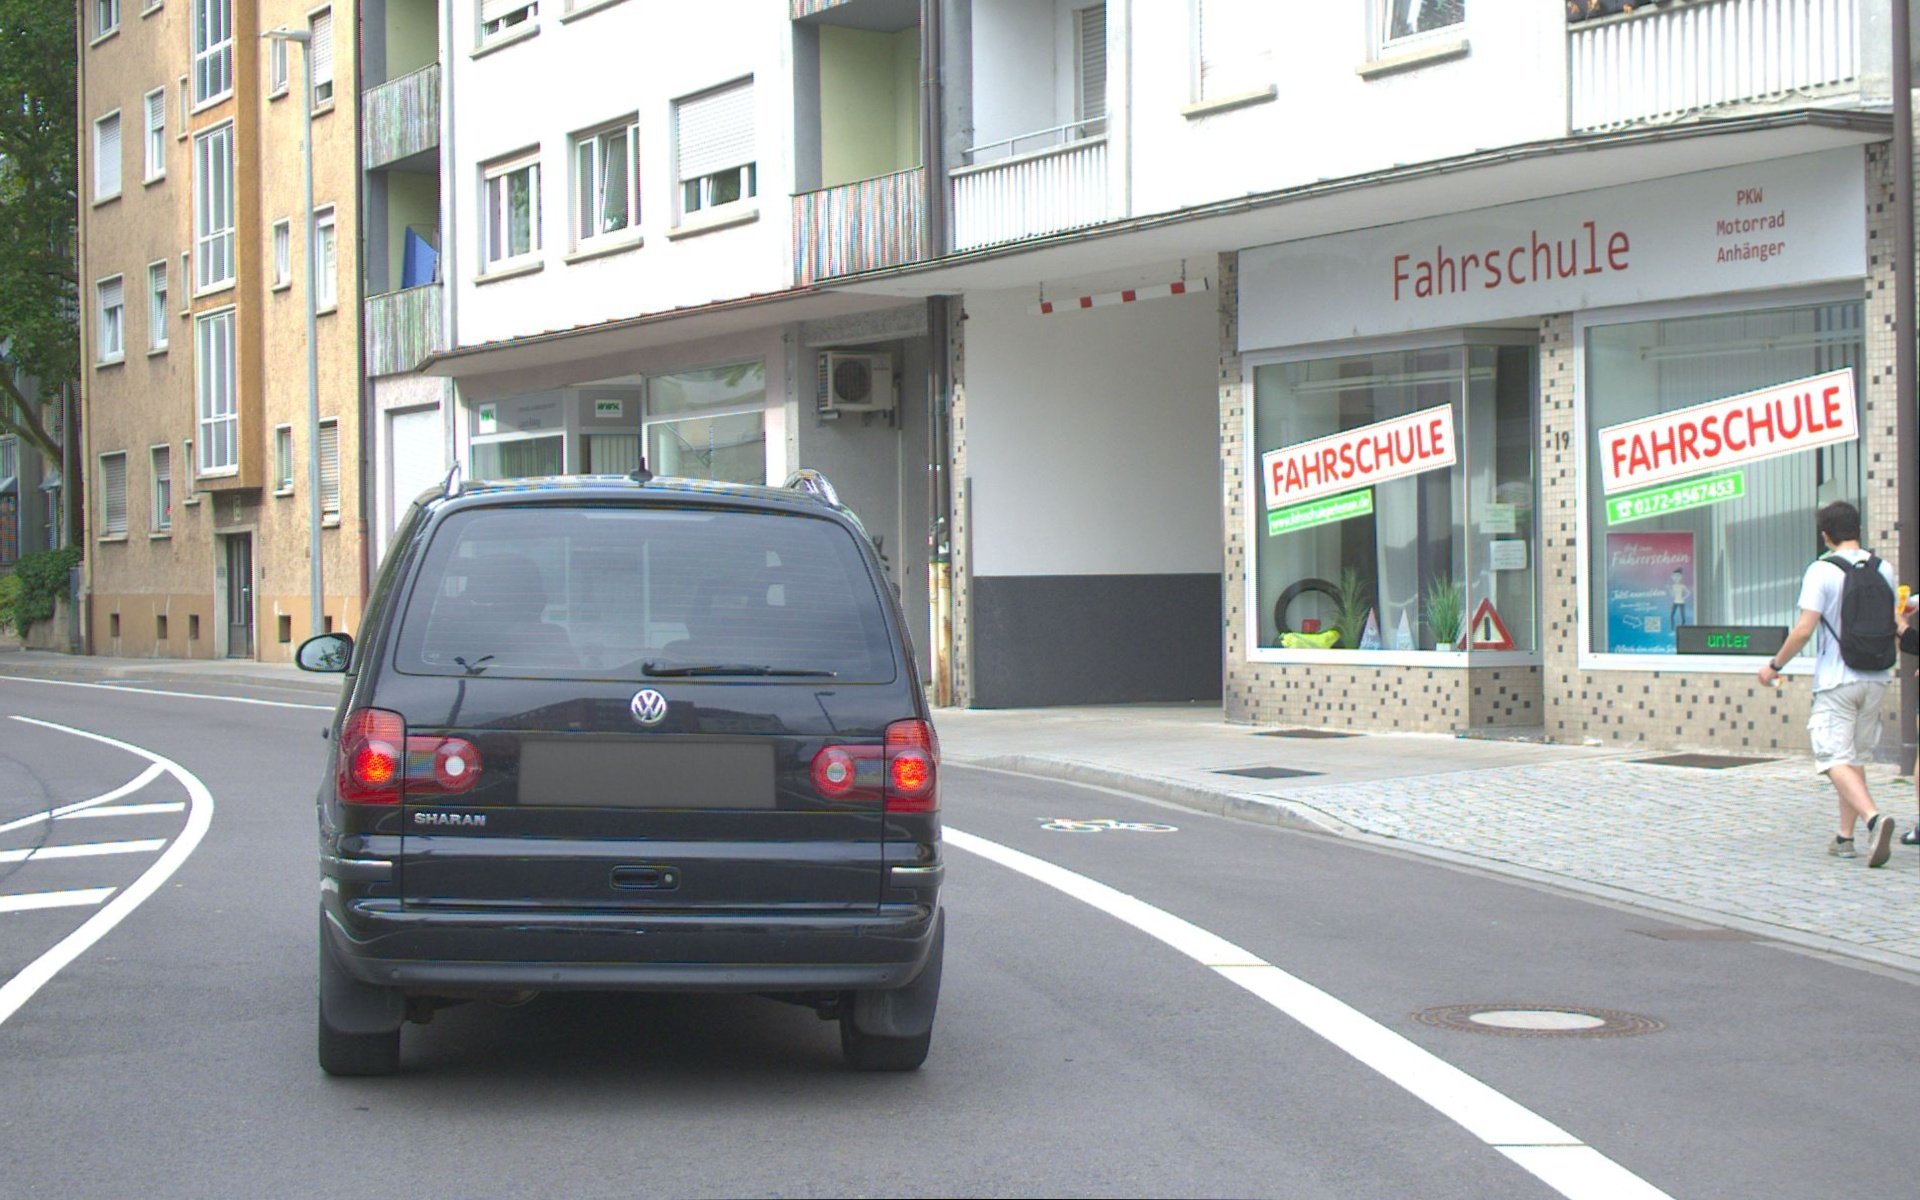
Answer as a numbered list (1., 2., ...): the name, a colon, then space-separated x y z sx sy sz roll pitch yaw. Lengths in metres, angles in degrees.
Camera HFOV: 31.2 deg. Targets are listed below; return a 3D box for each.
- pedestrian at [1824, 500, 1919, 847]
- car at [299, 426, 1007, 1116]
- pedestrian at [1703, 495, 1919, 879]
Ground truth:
1. pedestrian: 4.819 0.342 16.767 0.604 1.663 0.944 -4 1 -29
2. car: -1.133 0.441 10.769 1.812 1.760 3.739 1 0 -11
3. pedestrian: 4.156 0.396 16.430 0.751 1.744 0.859 -4 1 -18
